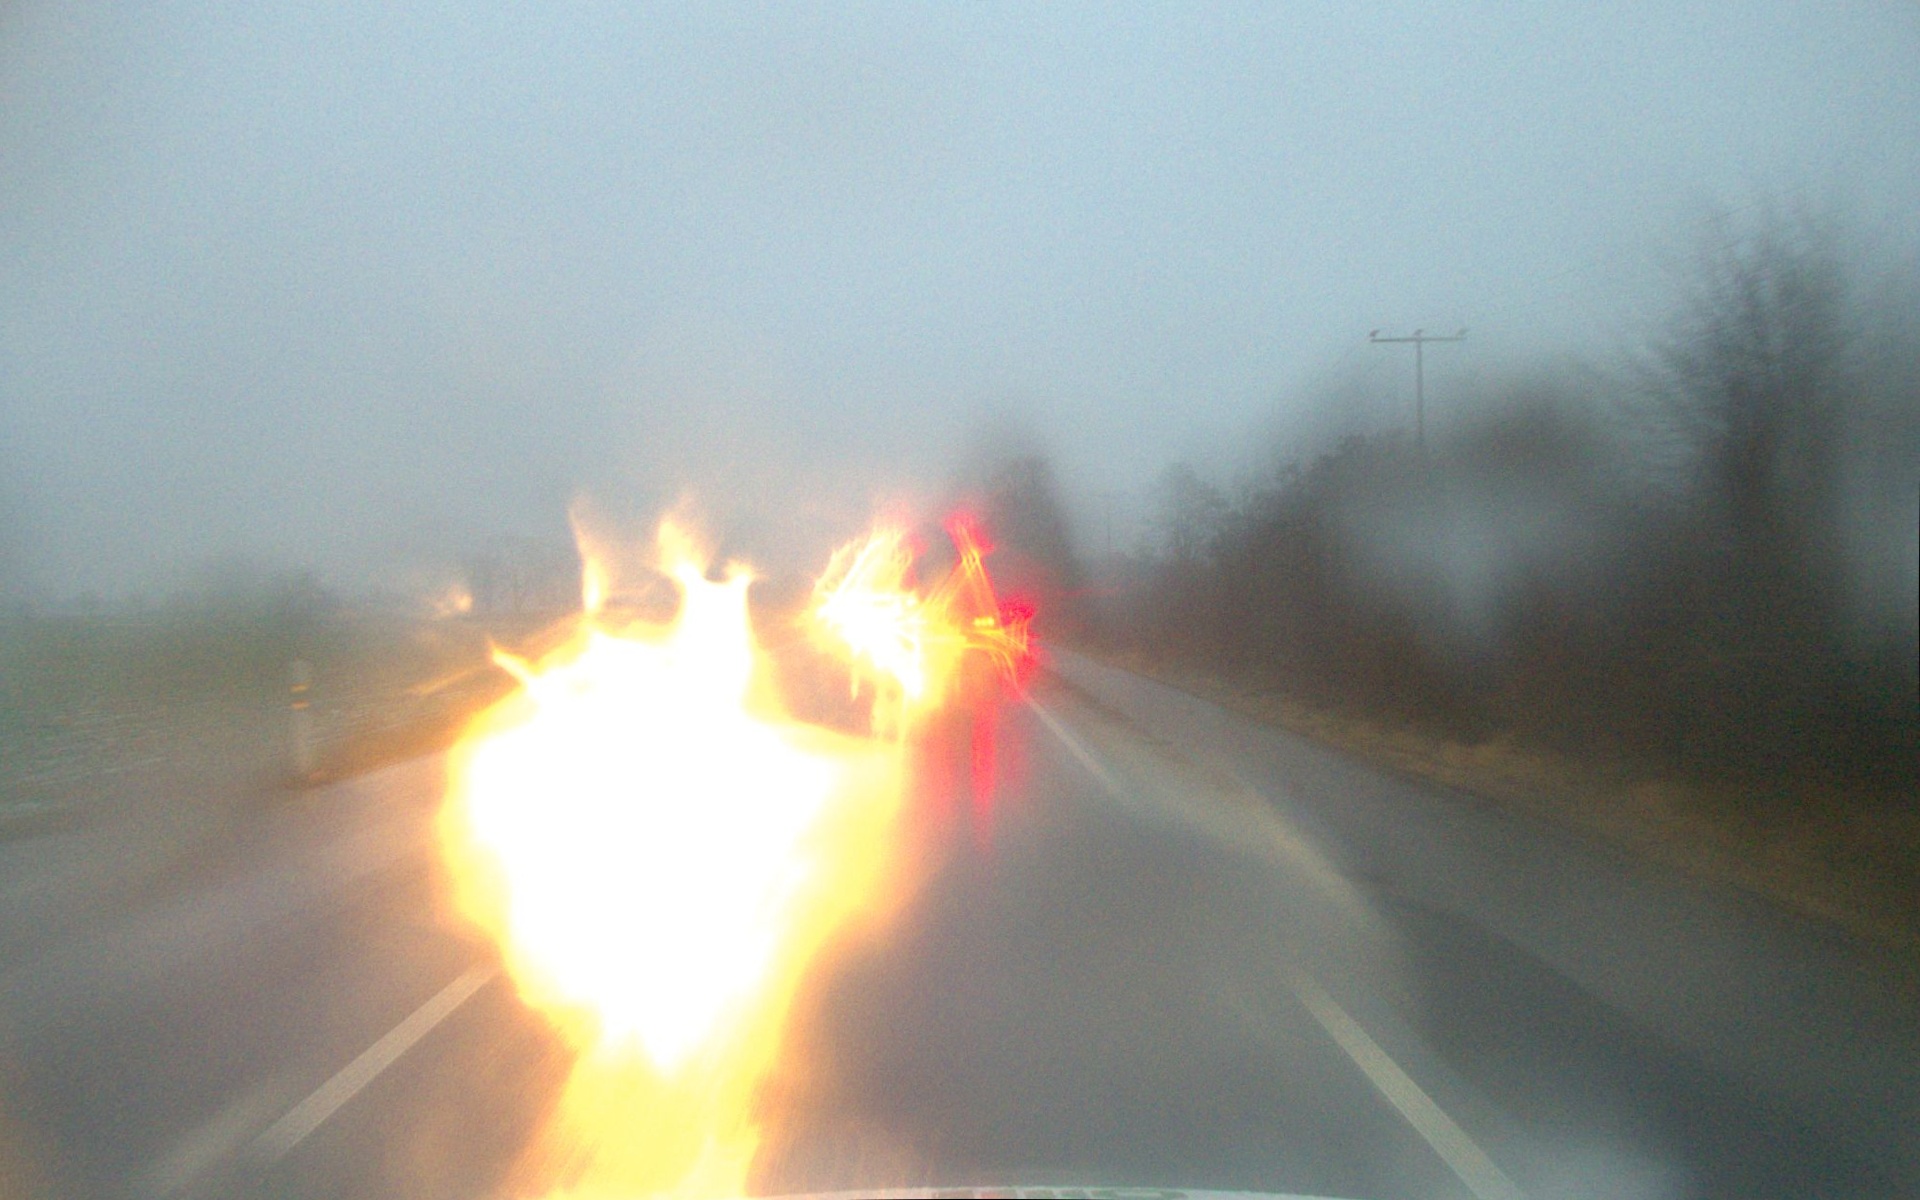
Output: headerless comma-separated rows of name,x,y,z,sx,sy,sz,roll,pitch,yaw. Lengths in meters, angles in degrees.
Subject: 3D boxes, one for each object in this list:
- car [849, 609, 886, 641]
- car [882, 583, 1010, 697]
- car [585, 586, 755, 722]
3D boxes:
car,-4.841,1.271,86.794,1.785,1.588,3.655,-1,0,-1
car,-0.254,0.713,29.439,2.077,1.852,4.978,0,-1,-1
car,-4.012,0.699,23.491,1.759,1.715,4.185,-1,0,-2
